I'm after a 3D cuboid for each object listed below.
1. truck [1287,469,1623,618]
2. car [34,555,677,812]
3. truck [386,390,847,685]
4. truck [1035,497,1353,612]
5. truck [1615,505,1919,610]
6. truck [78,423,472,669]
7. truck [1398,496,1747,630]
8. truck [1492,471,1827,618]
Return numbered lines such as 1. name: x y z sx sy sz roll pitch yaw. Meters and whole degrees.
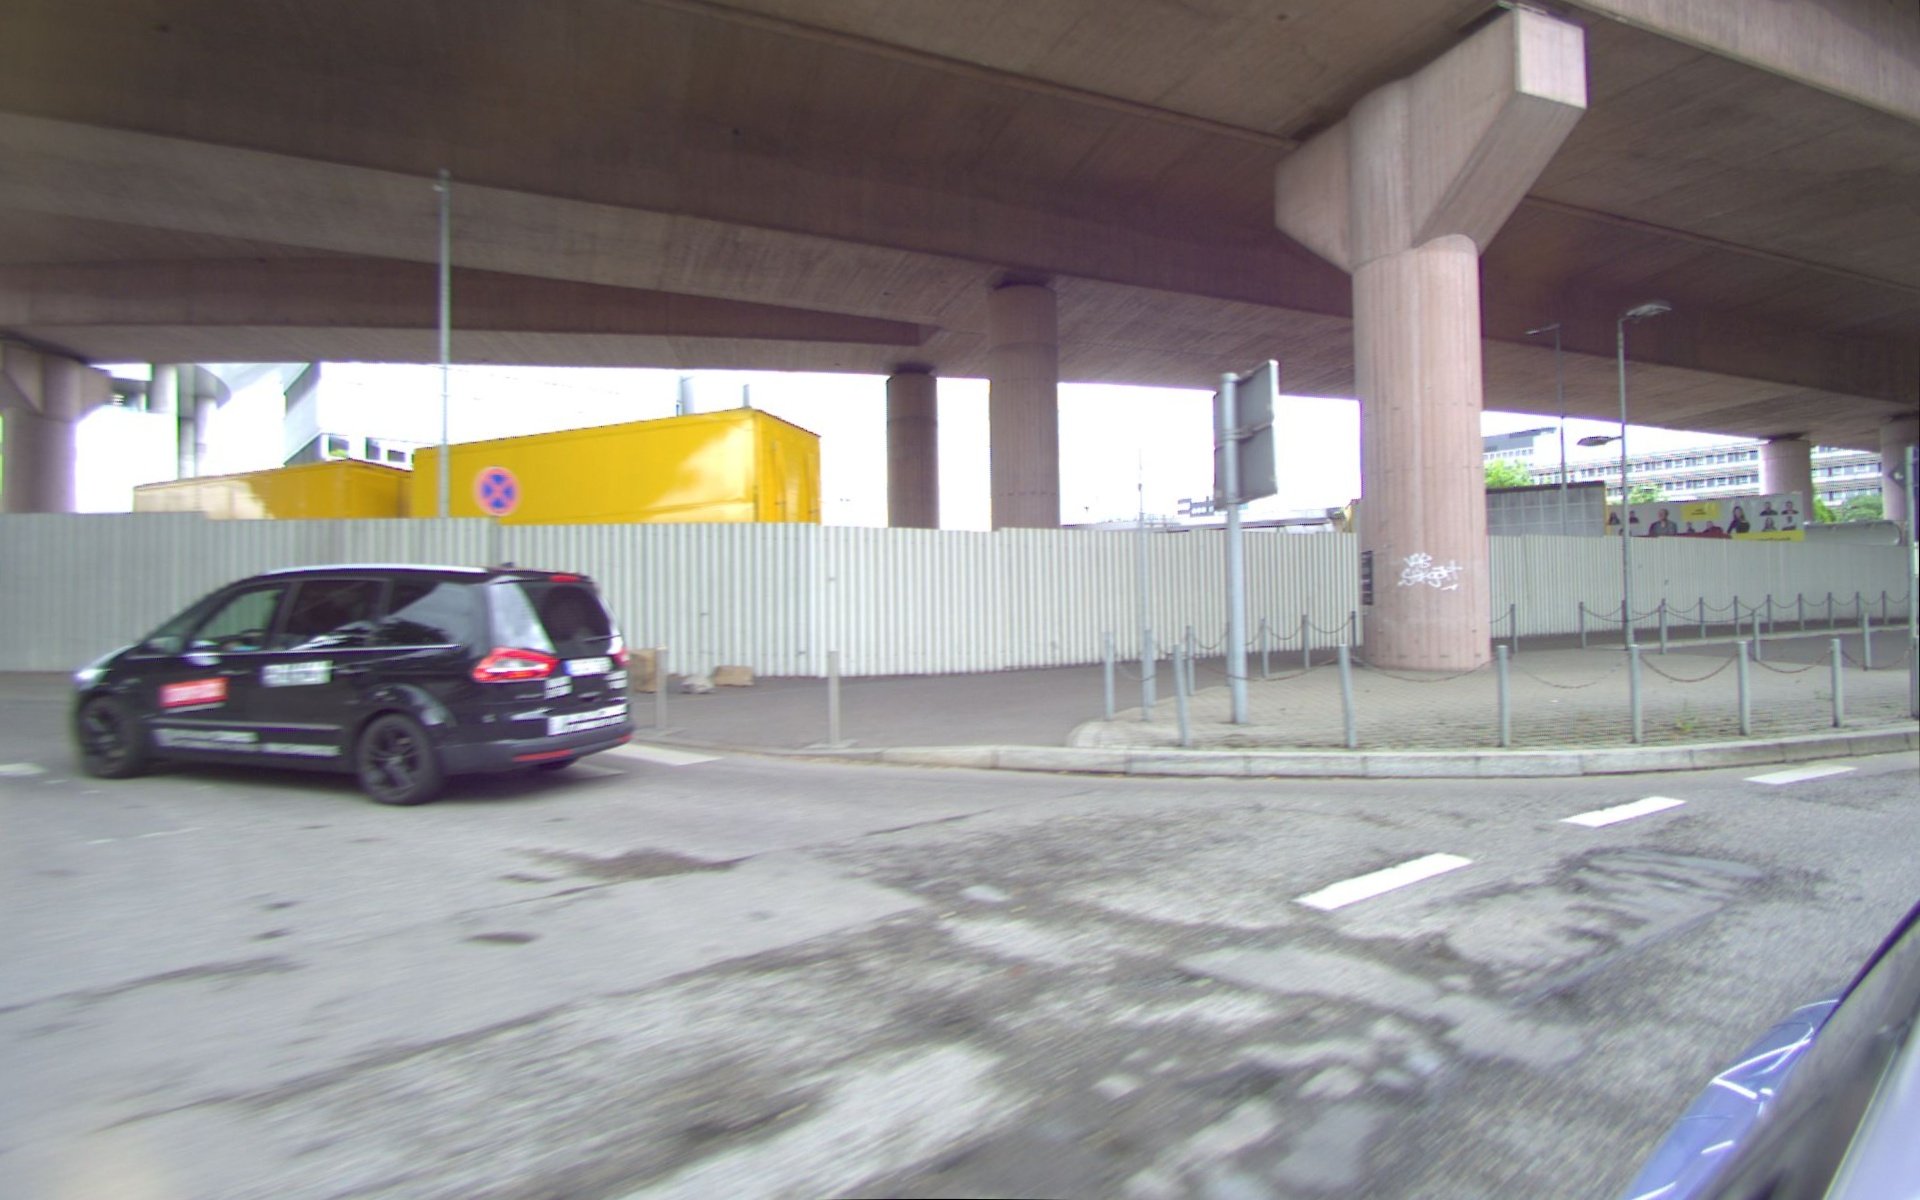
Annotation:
1. truck: 15.911 -1.692 33.557 9.597 4.499 3.129 0 0 19
2. car: -4.831 0.552 8.275 4.495 1.700 1.991 0 0 16
3. truck: -6.815 -0.967 20.012 8.607 4.981 3.127 -1 -1 20
4. truck: 6.742 -1.331 29.384 8.612 2.979 3.127 1 3 21
5. truck: 35.546 -1.763 45.130 10.167 4.358 2.994 0 0 20
6. truck: -15.823 -0.997 23.370 8.607 4.966 3.127 -1 -1 20
7. truck: 20.802 -1.180 35.245 9.939 4.236 2.880 0 0 20
8. truck: 25.407 -1.885 37.477 9.597 4.986 3.129 0 0 19
